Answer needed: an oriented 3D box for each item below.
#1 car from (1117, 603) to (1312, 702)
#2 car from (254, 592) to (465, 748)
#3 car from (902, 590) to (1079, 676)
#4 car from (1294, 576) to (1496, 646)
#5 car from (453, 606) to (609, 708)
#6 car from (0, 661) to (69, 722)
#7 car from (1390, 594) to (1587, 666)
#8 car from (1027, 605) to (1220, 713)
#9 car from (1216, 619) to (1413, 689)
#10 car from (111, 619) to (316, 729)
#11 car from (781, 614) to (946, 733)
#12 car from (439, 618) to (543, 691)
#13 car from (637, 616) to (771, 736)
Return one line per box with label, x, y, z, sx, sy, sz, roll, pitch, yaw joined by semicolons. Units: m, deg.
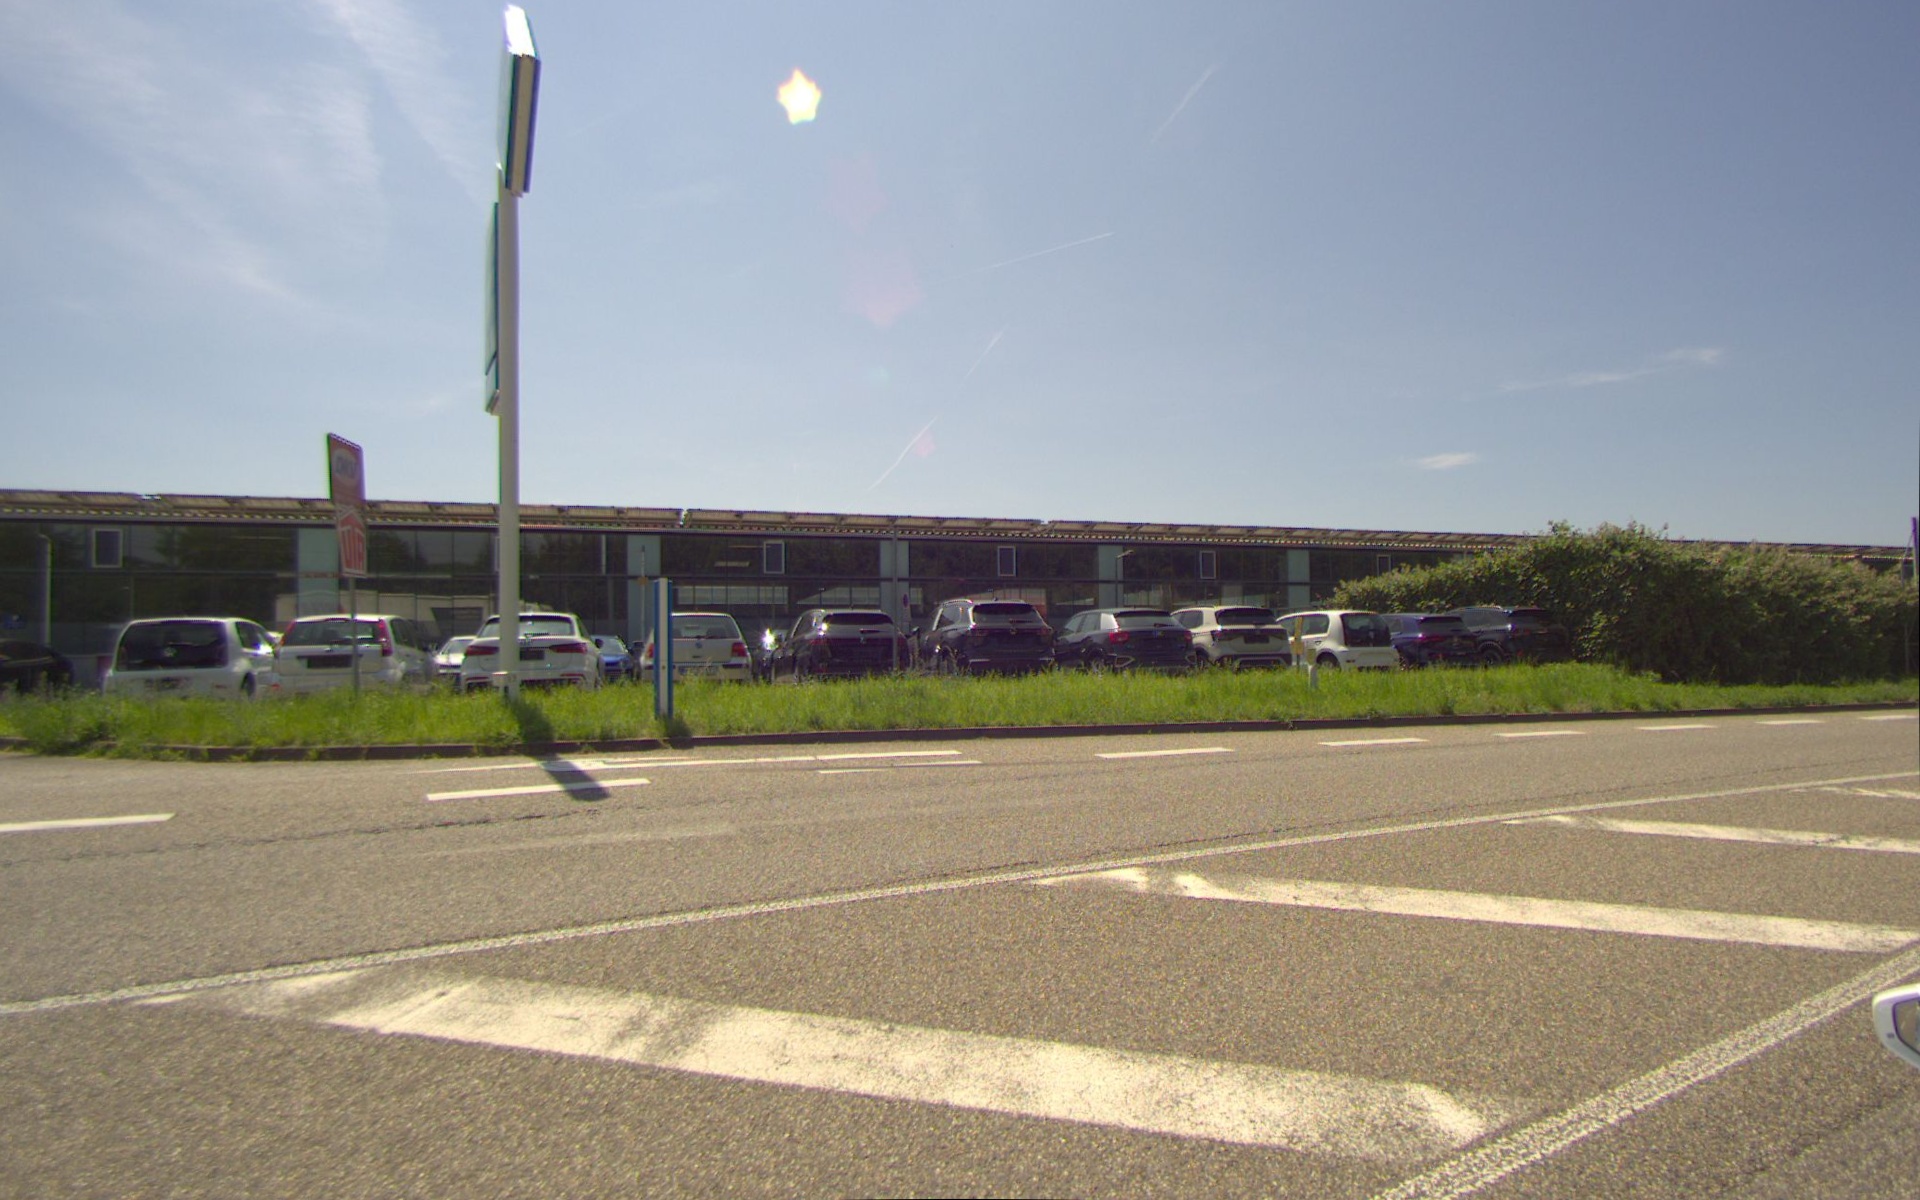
car;4.923;1.026;20.070;1.968;1.773;3.985;1;-2;-18
car;-8.951;1.016;15.365;1.969;2.040;3.984;0;-3;-19
car;0.403;0.610;17.978;1.968;1.349;3.985;1;-2;-18
car;9.341;0.306;21.947;1.793;1.380;3.982;1;-3;-21
car;-6.597;0.876;15.873;1.969;1.377;4.233;0;-3;-19
car;-21.071;1.952;21.352;1.742;1.263;3.984;0;-3;-19
car;11.686;0.618;22.491;1.775;1.391;3.694;2;1;-17
car;2.901;1.059;18.761;1.968;1.773;3.985;1;-2;-18
car;7.334;1.114;21.194;1.806;1.334;3.982;1;-3;-20
car;-11.192;1.080;15.318;1.540;1.460;3.439;1;-3;-20
car;-1.766;1.162;17.086;1.968;1.773;3.985;2;-2;-18
car;-11.172;1.265;24.164;1.790;1.603;3.984;2;-2;-19
car;-4.420;1.187;17.010;1.904;1.773;3.985;2;-2;-18
